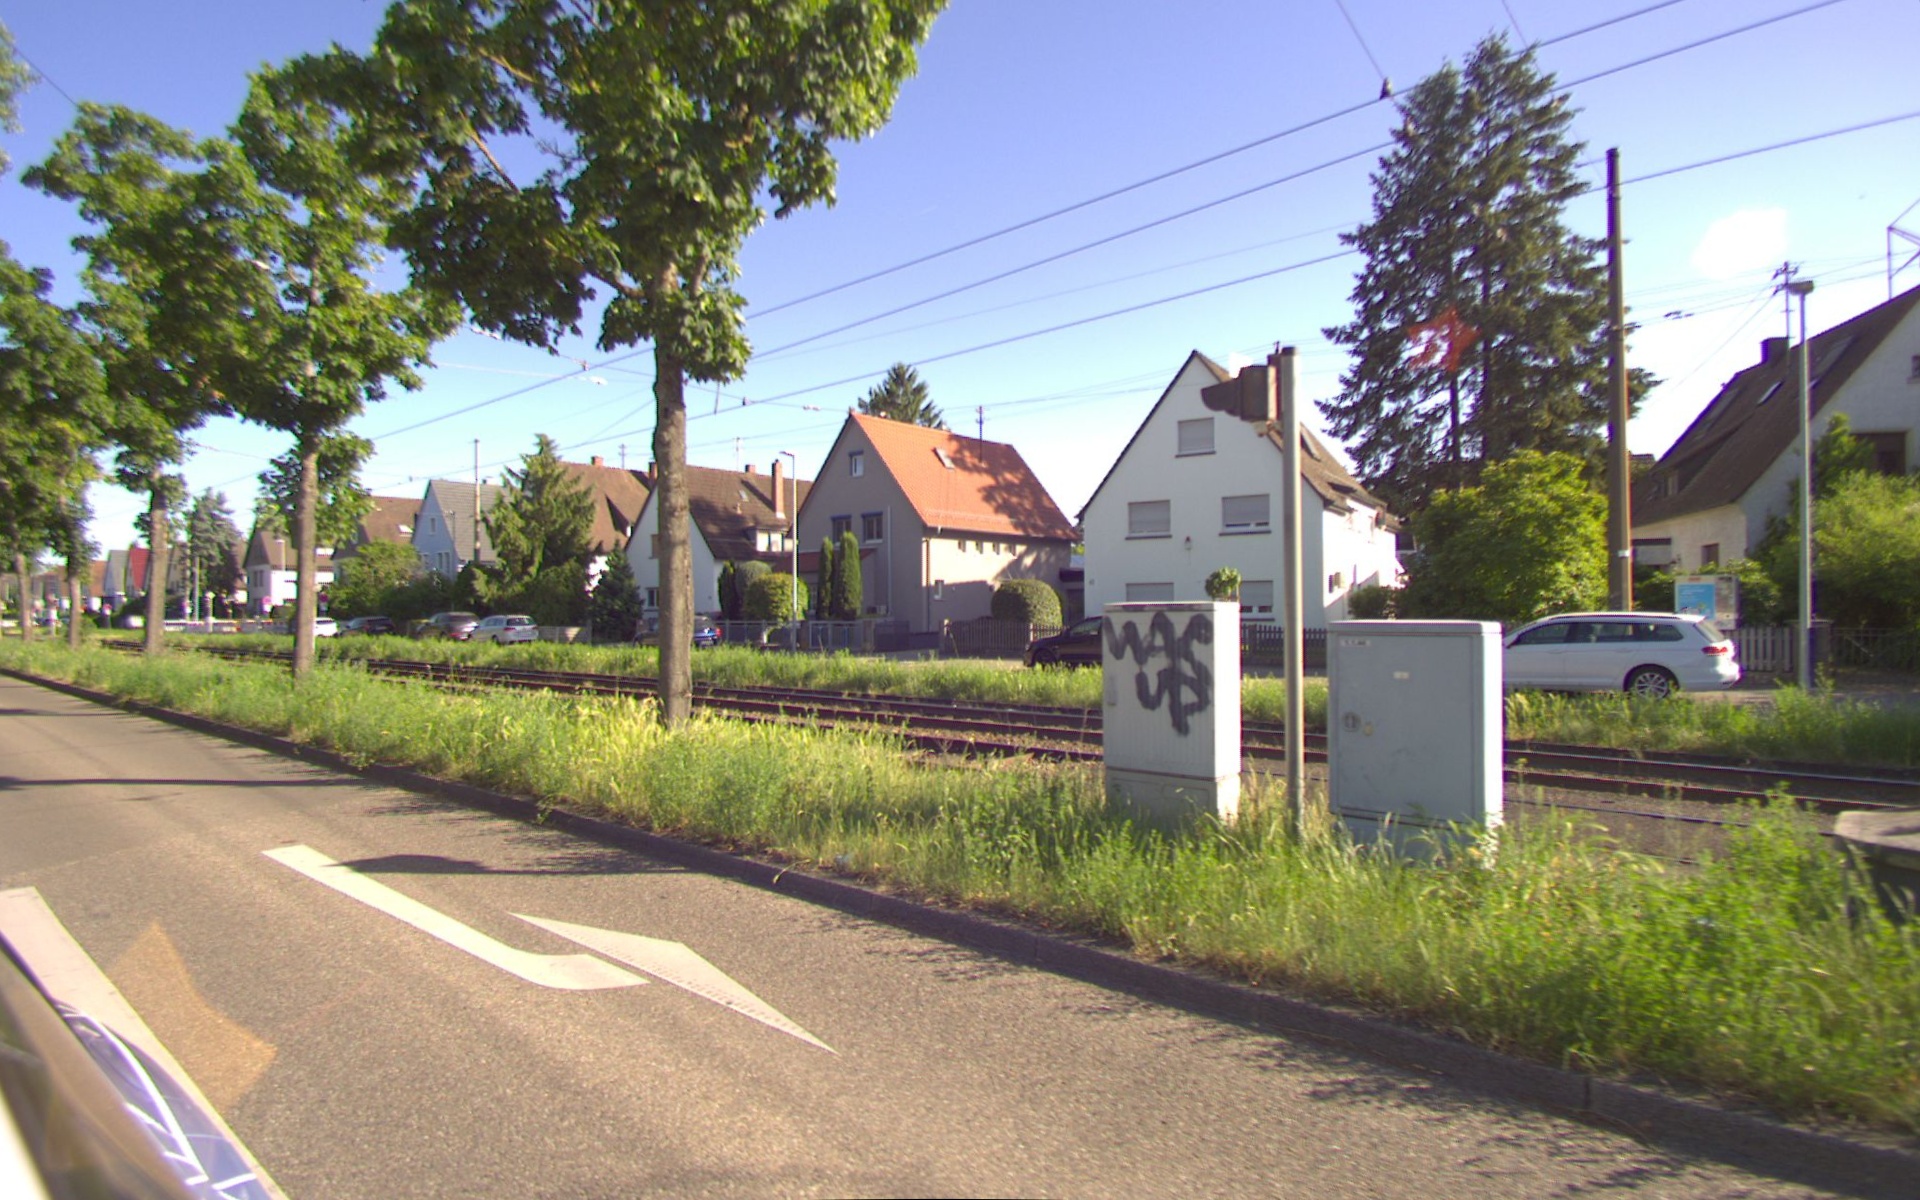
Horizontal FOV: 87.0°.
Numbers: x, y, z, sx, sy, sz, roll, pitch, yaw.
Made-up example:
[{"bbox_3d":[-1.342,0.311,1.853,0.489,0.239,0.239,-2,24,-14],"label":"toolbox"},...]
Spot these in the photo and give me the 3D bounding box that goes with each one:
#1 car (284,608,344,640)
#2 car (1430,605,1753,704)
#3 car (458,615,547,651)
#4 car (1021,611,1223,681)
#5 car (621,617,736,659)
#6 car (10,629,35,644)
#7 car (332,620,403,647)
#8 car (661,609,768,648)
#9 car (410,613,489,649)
[{"bbox_3d":[-40.104,1.472,62.763,4.582,1.877,1.972,-1,-1,42],"label":"car"},{"bbox_3d":[10.976,0.858,17.792,4.611,1.483,1.865,-1,1,40],"label":"car"},{"bbox_3d":[-20.816,1.477,45.933,4.837,1.483,1.864,-1,1,42],"label":"car"},{"bbox_3d":[3.778,1.022,24.078,4.439,1.477,1.887,-1,1,41],"label":"car"},{"bbox_3d":[-10.147,1.319,36.350,4.309,1.382,1.972,-1,-1,42],"label":"car"},{"bbox_3d":[-105.565,4.090,113.978,3.999,1.696,1.762,-1,-1,42],"label":"car"},{"bbox_3d":[-33.320,1.861,56.886,4.980,1.351,1.973,-1,1,41],"label":"car"},{"bbox_3d":[-10.758,1.219,44.592,1.746,1.481,4.433,-1,1,39],"label":"car"},{"bbox_3d":[-24.791,1.482,49.058,4.535,1.572,1.864,-1,1,41],"label":"car"}]
